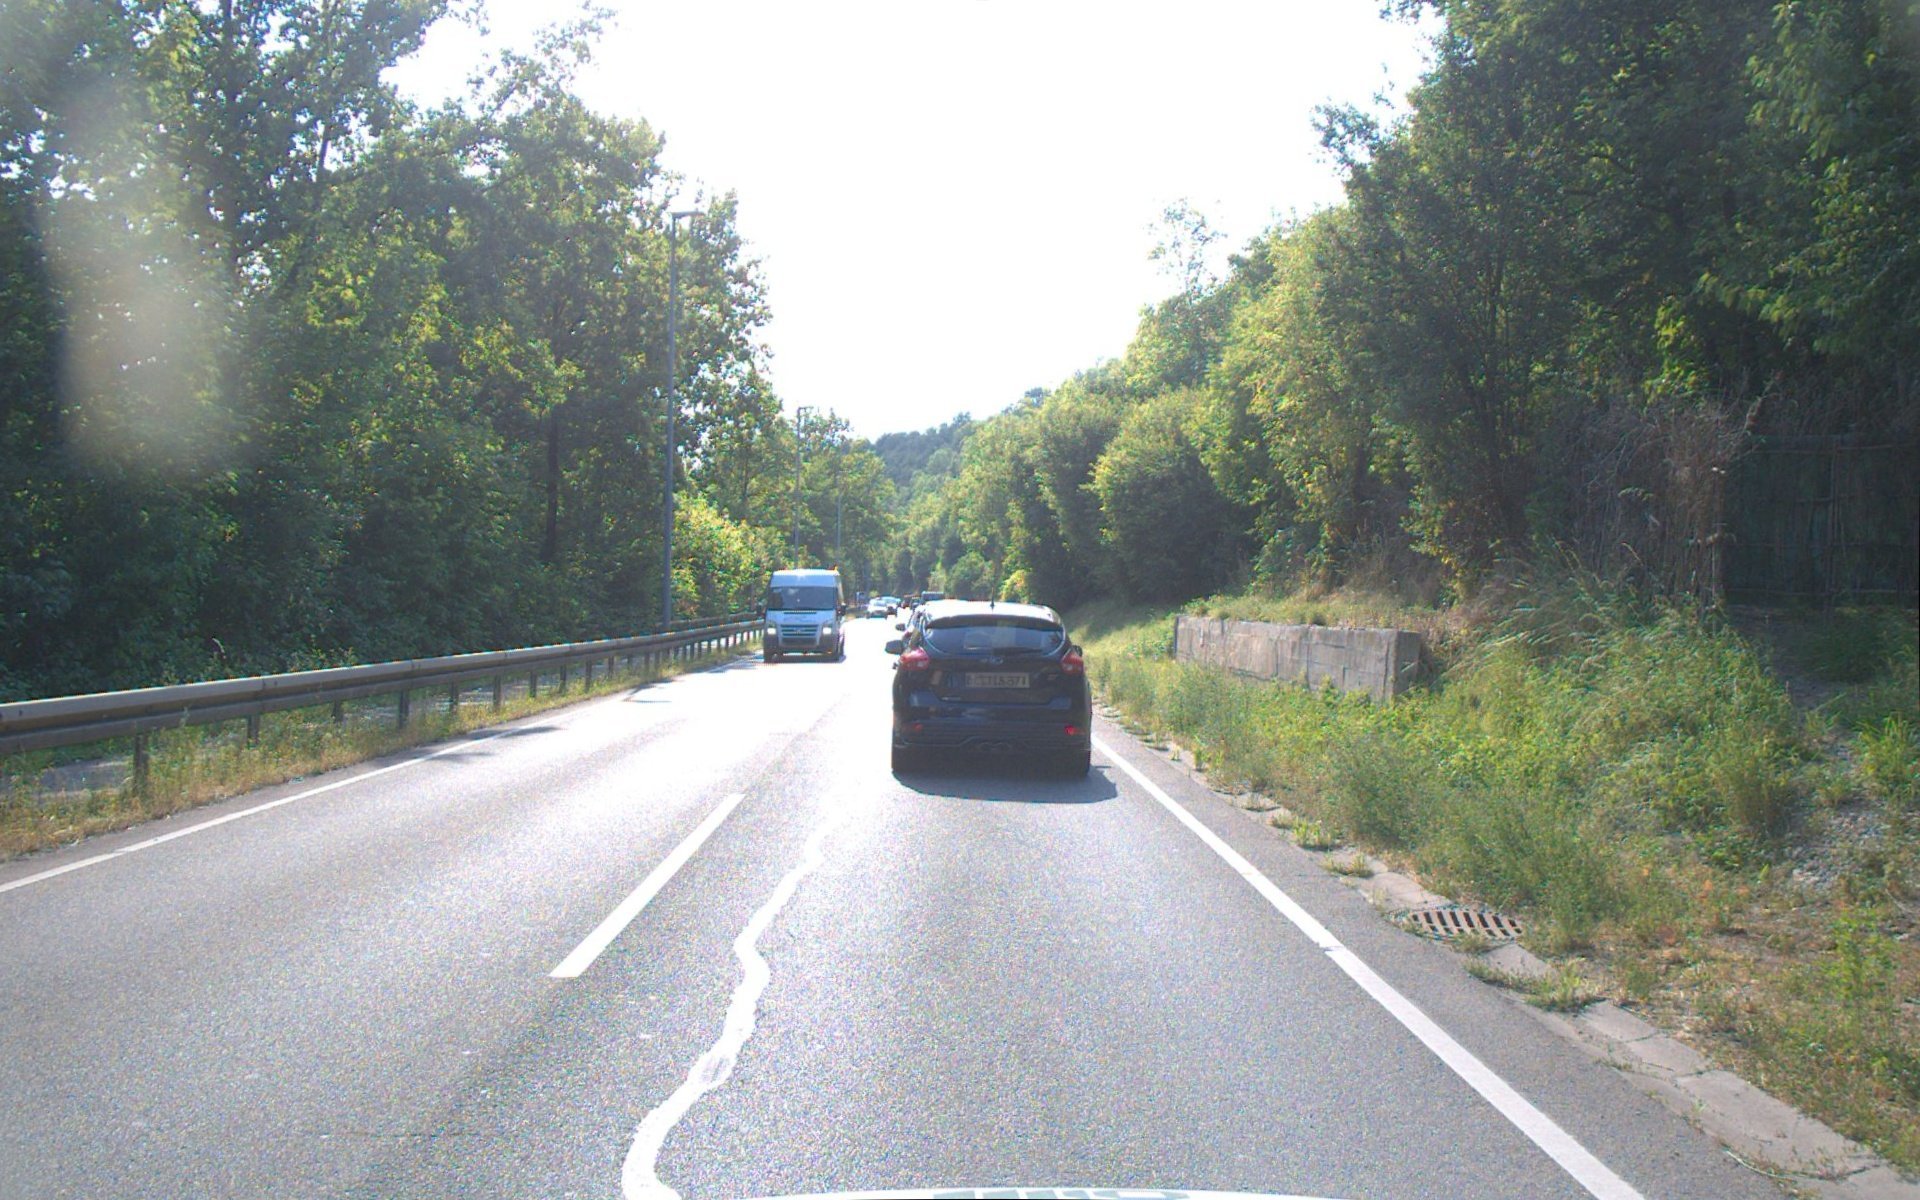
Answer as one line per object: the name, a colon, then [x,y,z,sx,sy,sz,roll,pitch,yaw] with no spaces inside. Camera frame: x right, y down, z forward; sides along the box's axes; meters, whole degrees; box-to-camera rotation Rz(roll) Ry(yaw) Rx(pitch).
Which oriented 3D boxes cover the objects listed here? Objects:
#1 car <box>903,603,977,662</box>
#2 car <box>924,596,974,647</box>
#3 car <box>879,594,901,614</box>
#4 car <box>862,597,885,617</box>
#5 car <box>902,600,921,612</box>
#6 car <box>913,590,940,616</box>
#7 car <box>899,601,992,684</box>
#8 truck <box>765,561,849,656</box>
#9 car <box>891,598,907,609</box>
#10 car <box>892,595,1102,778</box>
car: [-0.514,0.780,41.921,1.768,1.416,3.999,0,0,-1]
car: [-0.382,0.686,54.950,1.597,1.624,3.999,0,0,-1]
car: [-6.026,0.353,142.670,1.712,1.747,4.220,0,0,-1]
car: [-6.629,0.555,127.455,1.648,1.467,3.999,0,1,-2]
car: [-6.069,0.738,206.613,1.956,1.545,3.992,0,0,-8]
car: [-2.367,0.201,117.321,1.825,1.812,4.000,0,0,0]
car: [-0.245,0.746,30.946,1.627,1.443,4.000,0,0,0]
truck: [-4.133,0.218,45.485,2.016,2.427,5.870,0,0,-2]
car: [-8.927,0.539,241.581,1.956,1.545,3.992,0,0,-8]
car: [0.273,0.720,15.588,1.704,1.482,3.999,1,0,-1]
